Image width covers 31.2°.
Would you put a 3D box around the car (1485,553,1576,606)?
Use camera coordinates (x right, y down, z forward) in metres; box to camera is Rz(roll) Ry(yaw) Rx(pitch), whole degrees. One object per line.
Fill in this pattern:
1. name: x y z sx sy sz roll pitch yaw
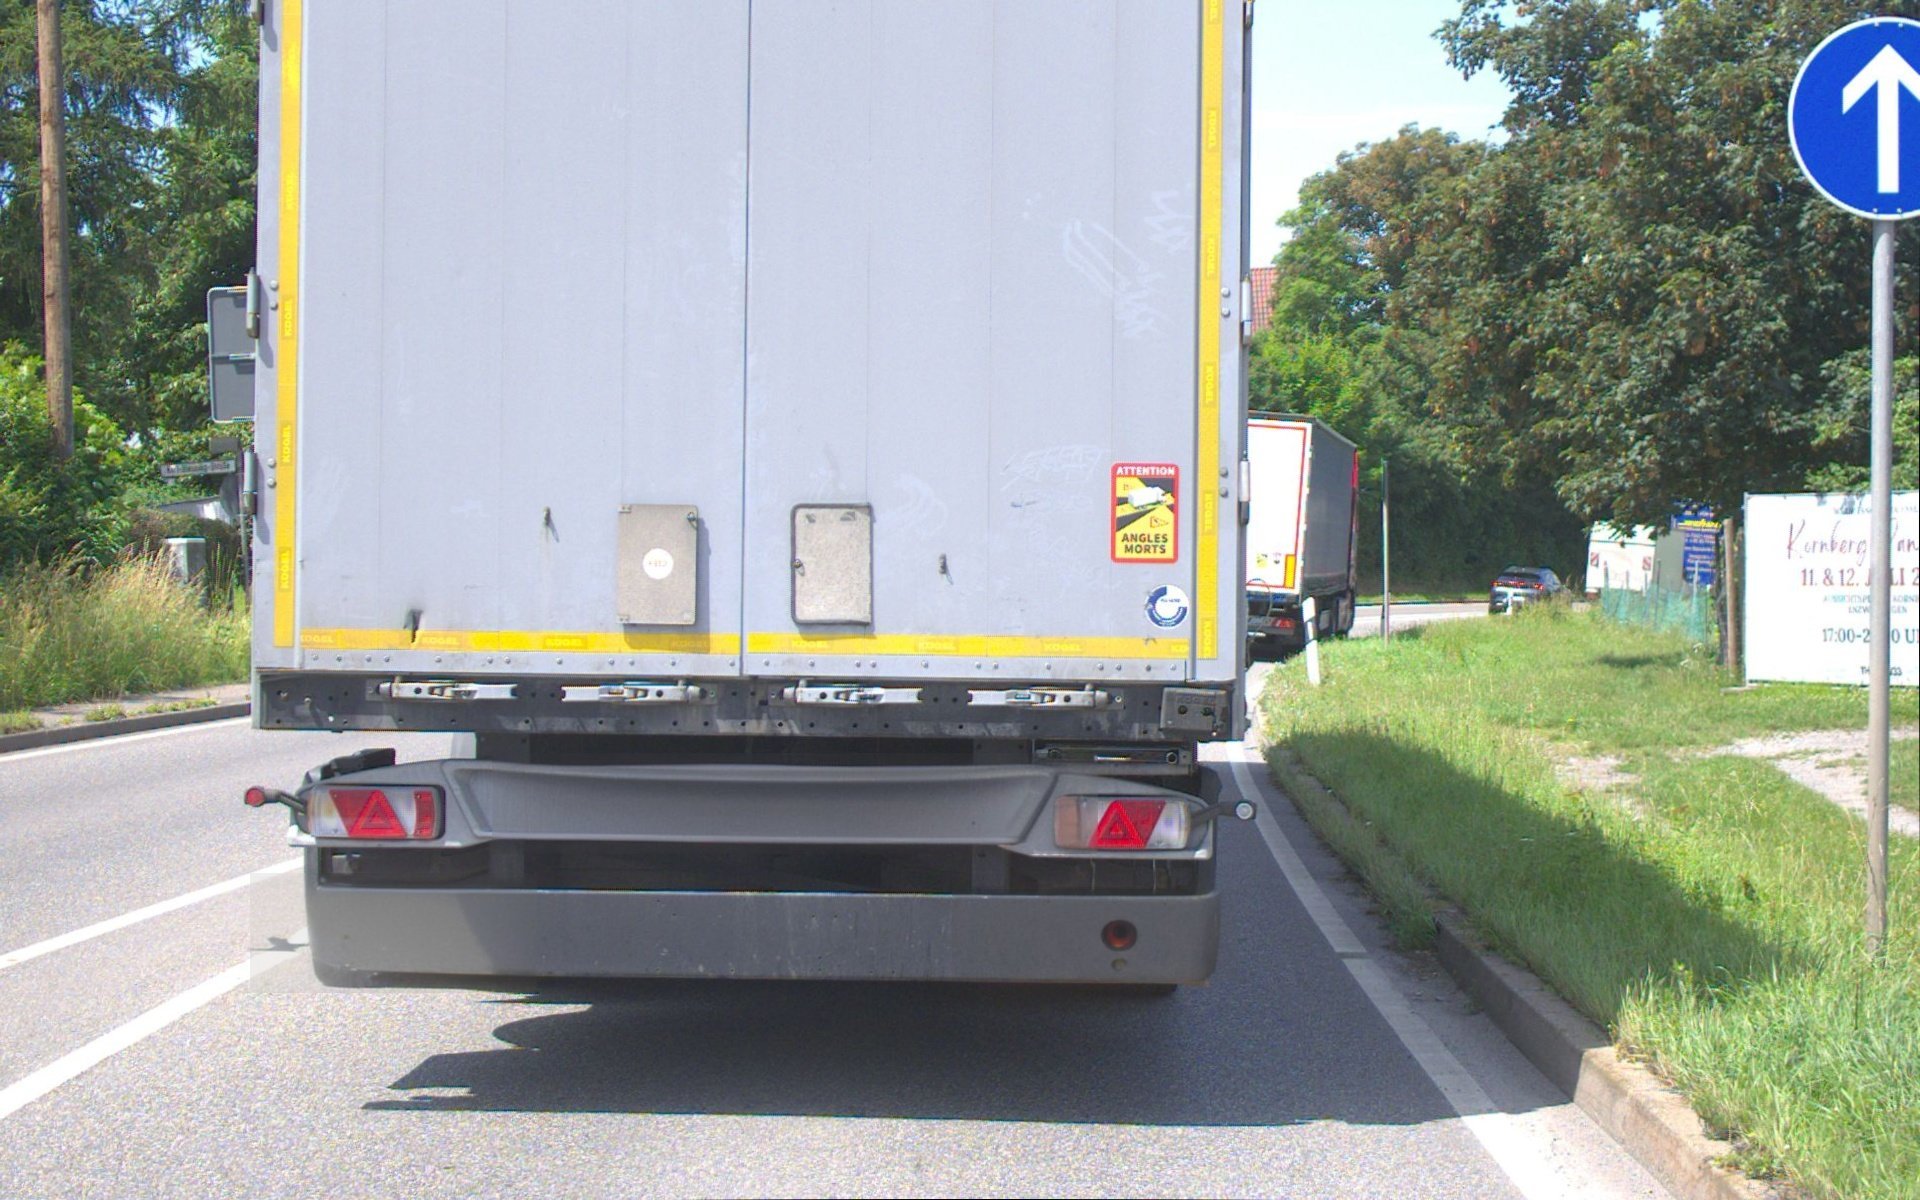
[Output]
1. car: 16.824 -0.621 101.274 1.843 1.481 3.996 1 2 21

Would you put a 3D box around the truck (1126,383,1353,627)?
1. truck: 5.632 -1.833 68.077 3.938 4.559 7.149 0 1 9

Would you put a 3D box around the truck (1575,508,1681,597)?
1. truck: 21.880 -1.570 112.449 2.423 2.828 5.406 1 1 22

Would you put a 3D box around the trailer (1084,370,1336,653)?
1. trailer: 4.673 -1.582 61.264 3.892 4.505 12.711 0 1 7

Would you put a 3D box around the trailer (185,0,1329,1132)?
1. trailer: -0.302 -0.968 14.438 2.787 4.191 12.111 1 1 2

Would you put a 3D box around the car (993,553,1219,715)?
1. car: 1.552 0.297 35.070 1.994 1.525 3.999 1 1 7

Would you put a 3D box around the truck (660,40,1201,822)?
1. truck: 0.044 -0.984 21.441 2.746 4.151 6.142 1 1 5

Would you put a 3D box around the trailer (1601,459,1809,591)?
1. trailer: 27.980 -2.833 128.228 5.185 4.612 15.879 1 2 21
